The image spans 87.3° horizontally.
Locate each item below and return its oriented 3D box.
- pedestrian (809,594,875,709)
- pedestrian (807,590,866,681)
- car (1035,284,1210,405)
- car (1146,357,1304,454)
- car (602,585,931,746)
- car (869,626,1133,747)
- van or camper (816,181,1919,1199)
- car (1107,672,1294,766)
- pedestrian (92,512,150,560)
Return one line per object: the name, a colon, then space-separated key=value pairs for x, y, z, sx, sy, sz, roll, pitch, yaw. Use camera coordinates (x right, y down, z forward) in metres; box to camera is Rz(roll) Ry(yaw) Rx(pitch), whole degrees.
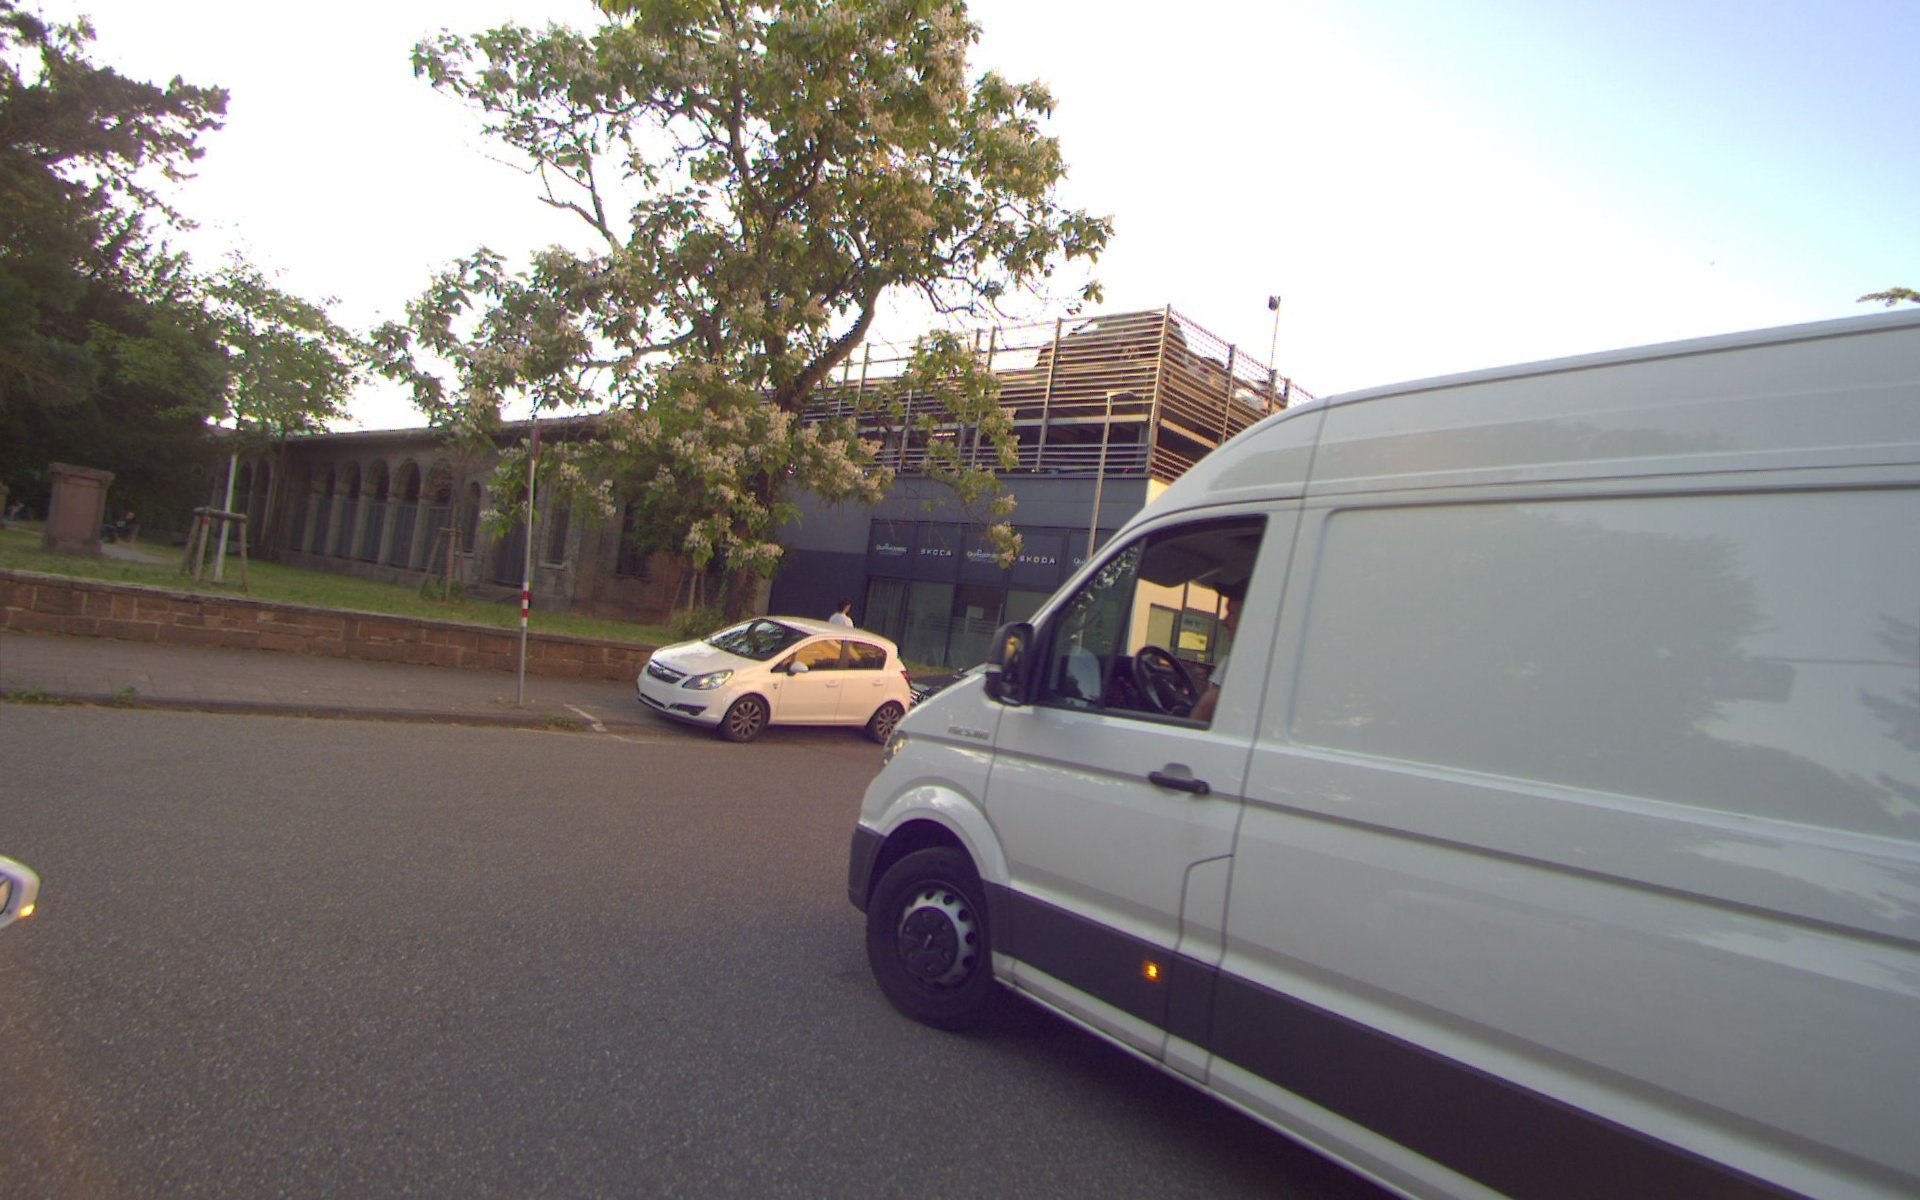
pedestrian: x=-1.998 y=0.876 z=17.087 sx=0.612 sy=1.828 sz=0.593 roll=7 pitch=-3 yaw=44
pedestrian: x=-2.089 y=0.601 z=17.060 sx=0.543 sy=1.436 sz=0.631 roll=9 pitch=-1 yaw=-43
car: x=4.199 y=-6.597 z=26.458 sx=1.990 sy=2.035 sz=3.953 roll=11 pitch=-4 yaw=-42
car: x=7.896 y=-5.743 z=30.207 sx=1.990 sy=2.035 sz=3.953 roll=11 pitch=-4 yaw=-42
car: x=-2.477 y=0.954 z=13.604 sx=1.930 sy=1.591 sz=3.856 roll=7 pitch=-4 yaw=40
car: x=0.785 y=1.487 z=16.718 sx=4.282 sy=1.520 sz=1.801 roll=9 pitch=-2 yaw=-44
van or camper: x=2.254 y=0.615 z=2.863 sx=1.987 sy=2.646 sz=6.335 roll=11 pitch=-4 yaw=-39
car: x=4.979 y=2.466 z=20.564 sx=3.828 sy=1.520 sz=1.801 roll=9 pitch=-2 yaw=-44
pedestrian: x=-30.619 y=-2.333 z=36.713 sx=1.032 sy=1.461 sz=1.327 roll=7 pitch=-2 yaw=41
